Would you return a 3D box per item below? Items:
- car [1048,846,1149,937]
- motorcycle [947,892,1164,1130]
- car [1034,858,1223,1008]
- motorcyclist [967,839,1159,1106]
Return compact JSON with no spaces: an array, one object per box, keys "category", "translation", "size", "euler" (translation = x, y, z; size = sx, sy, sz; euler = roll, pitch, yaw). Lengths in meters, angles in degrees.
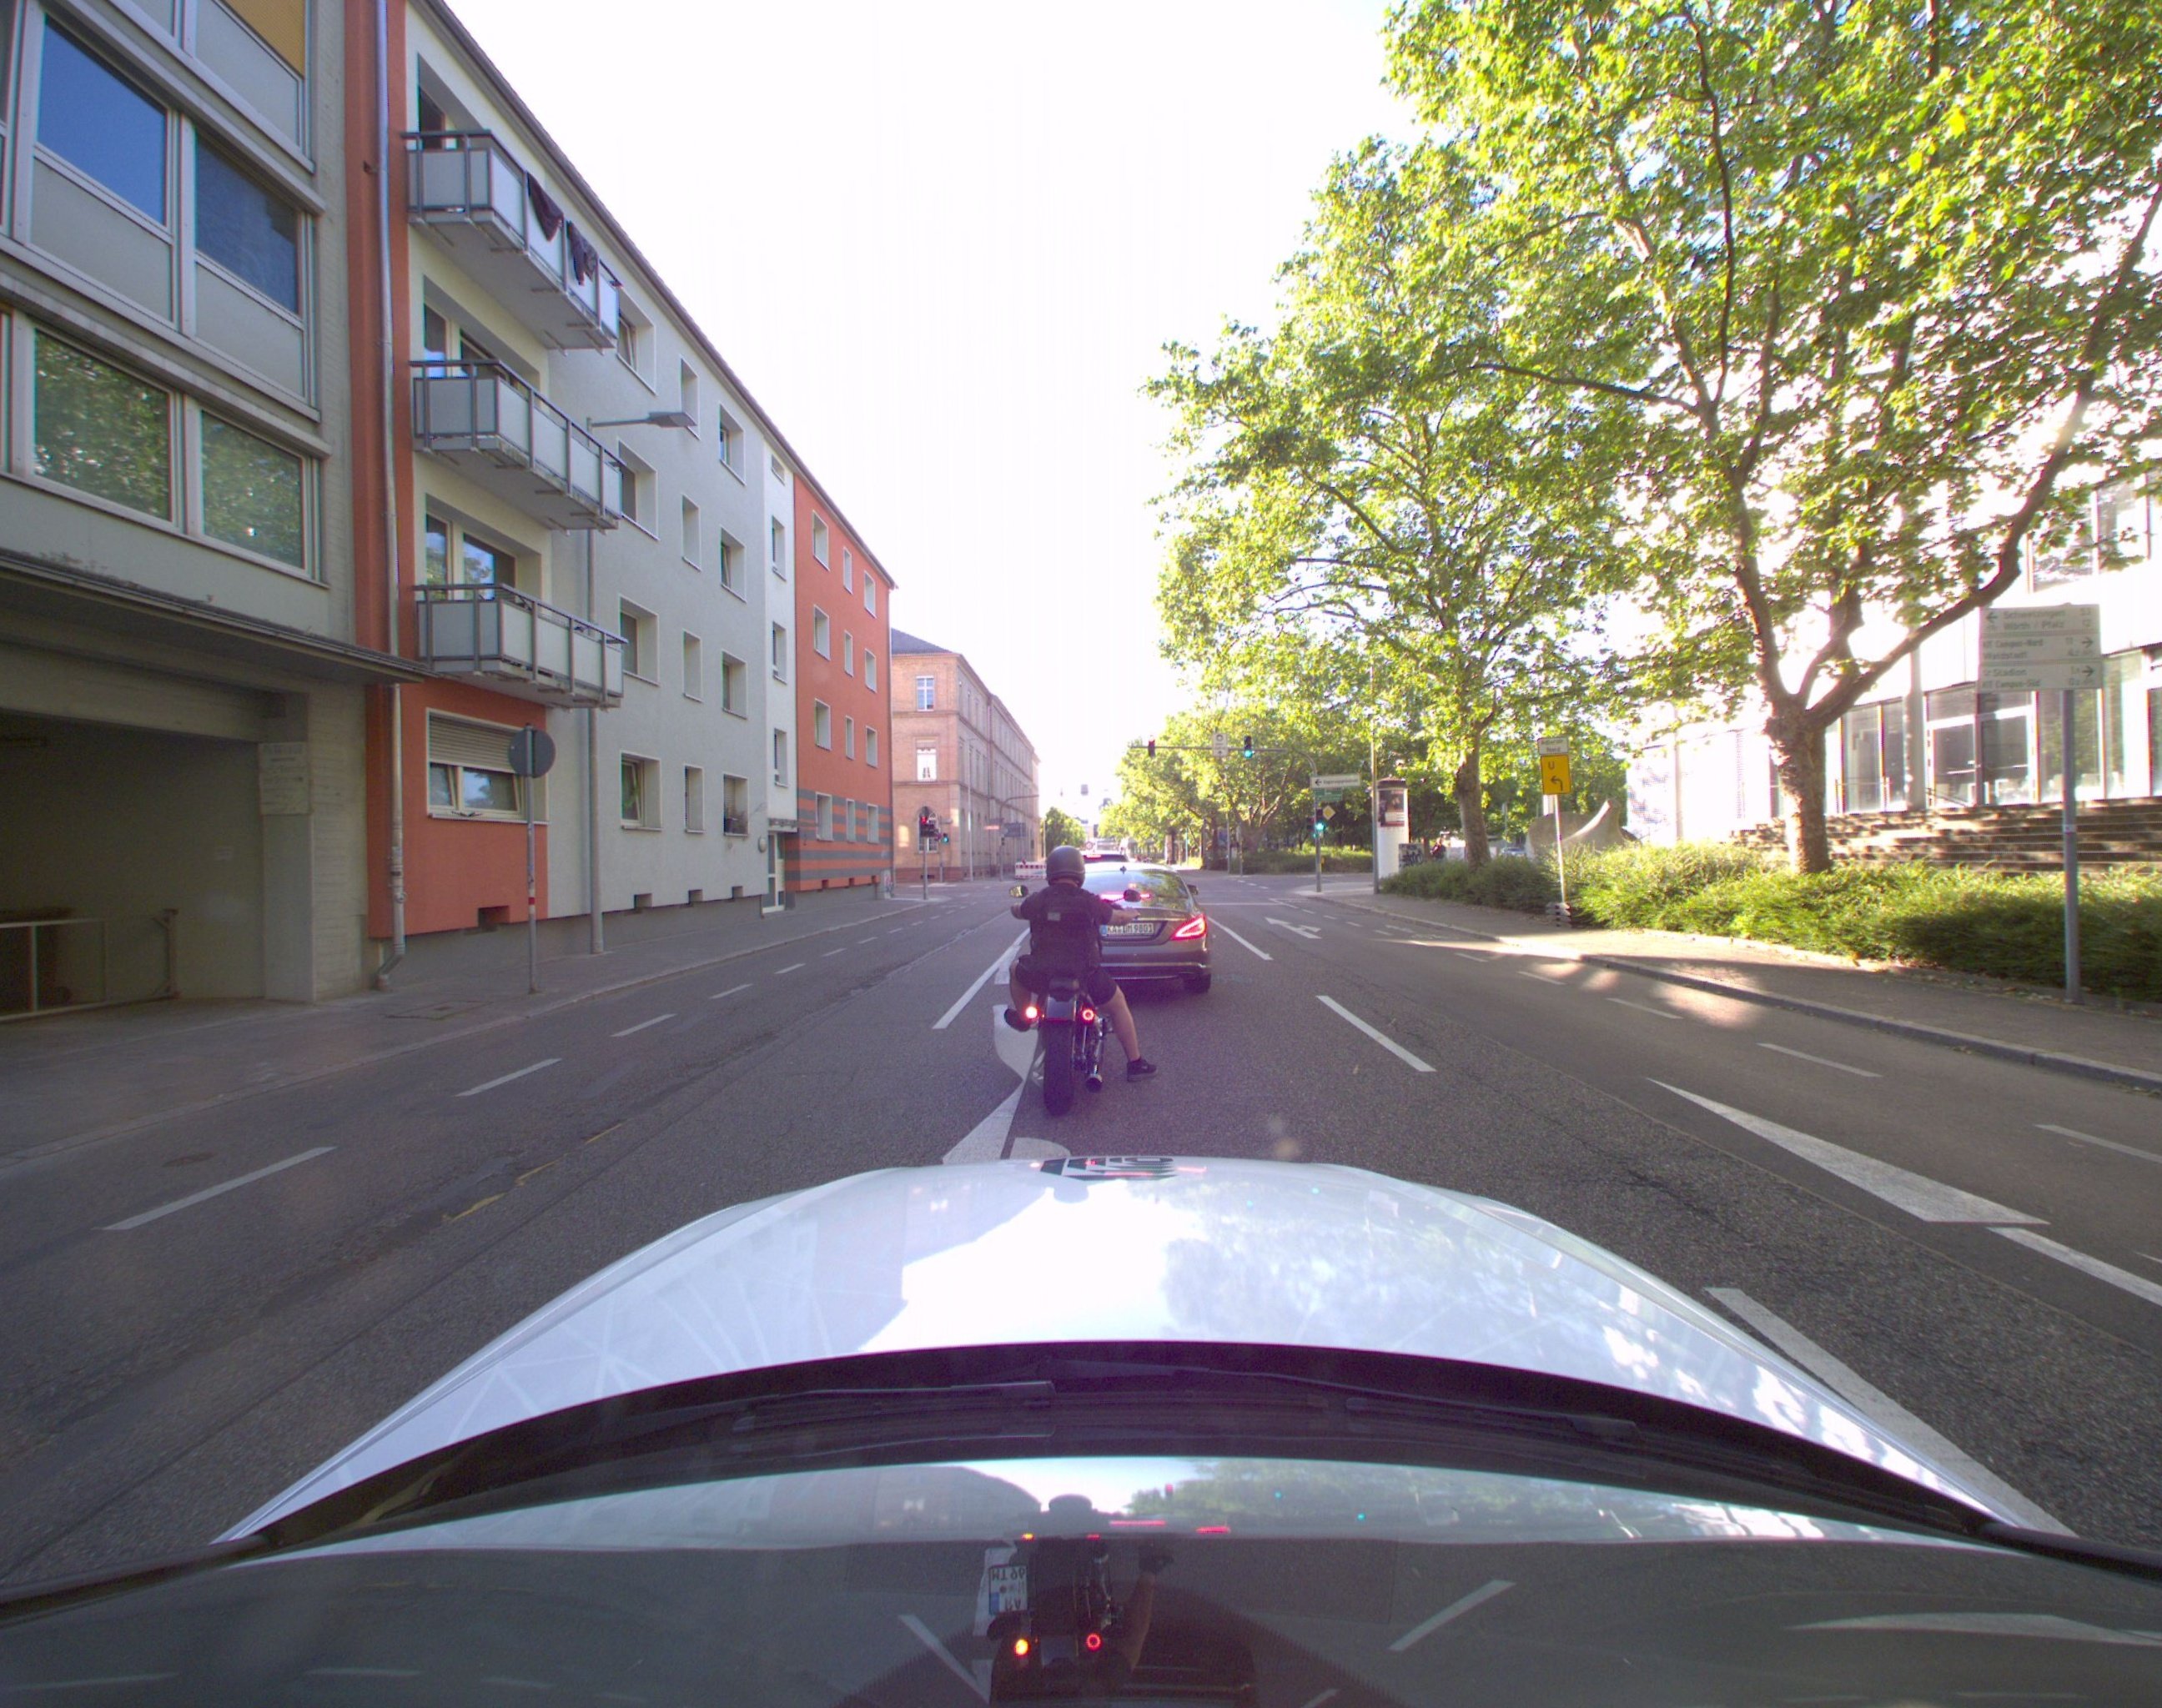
[{"category":"car","translation":[0.382,0.712,17.059],"size":[1.856,1.678,4.001],"euler":[0,-1,2]},{"category":"motorcycle","translation":[-0.040,0.913,5.613],"size":[1.111,1.207,2.217],"euler":[-1,-1,8]},{"category":"car","translation":[0.521,0.781,9.770],"size":[1.815,1.437,3.807],"euler":[0,-1,2]},{"category":"motorcyclist","translation":[-0.069,0.705,5.395],"size":[1.093,1.566,1.074],"euler":[-1,-1,8]}]
